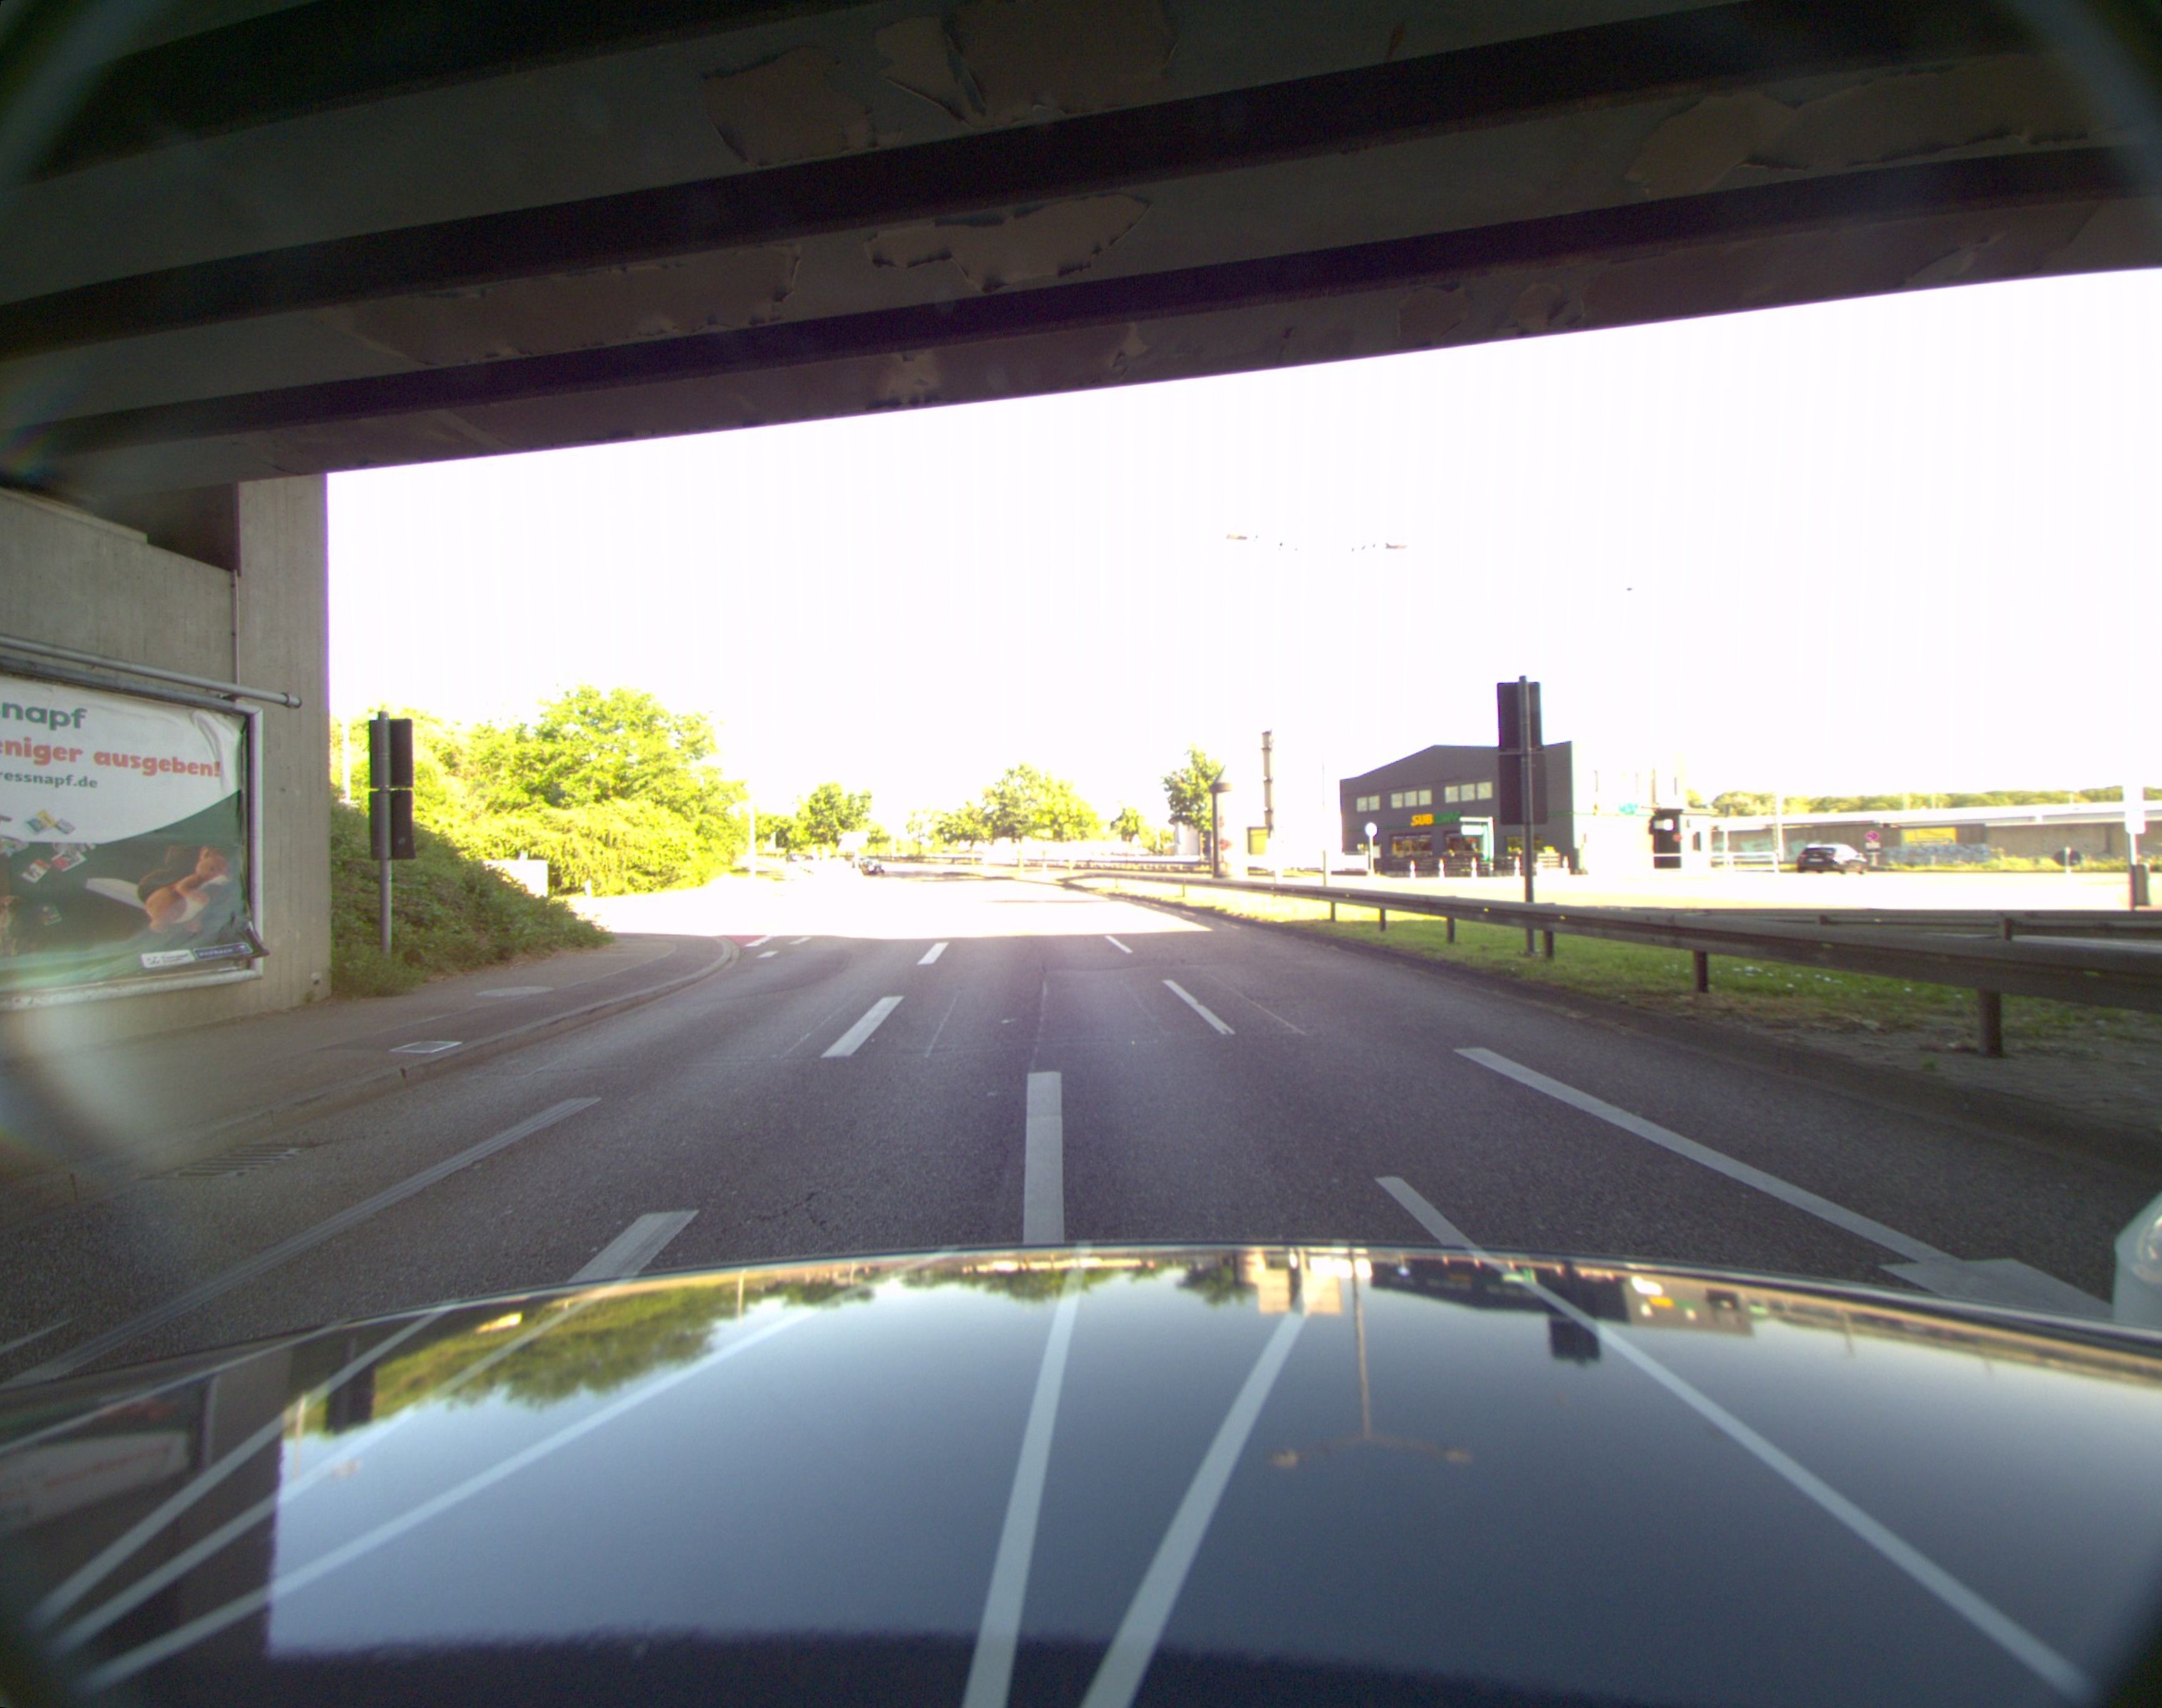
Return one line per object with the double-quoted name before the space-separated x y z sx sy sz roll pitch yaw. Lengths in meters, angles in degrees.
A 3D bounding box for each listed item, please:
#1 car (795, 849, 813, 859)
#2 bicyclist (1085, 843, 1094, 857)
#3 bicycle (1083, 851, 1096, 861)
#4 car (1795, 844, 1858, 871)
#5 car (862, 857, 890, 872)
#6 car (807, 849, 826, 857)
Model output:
"car" -43.416 0.009 119.115 1.860 1.471 4.220 -2 0 -31
"bicyclist" 0.846 -0.378 78.516 0.594 1.419 0.707 -3 1 -28
"bicycle" 0.854 0.168 78.565 0.594 1.017 1.746 -3 1 -28
"car" 38.297 0.183 39.009 4.191 1.274 1.825 1 0 -39
"car" -20.895 1.095 77.242 1.741 1.411 4.310 -1 -2 -29
"car" -43.481 -0.115 124.990 1.751 1.274 4.171 1 0 -36
